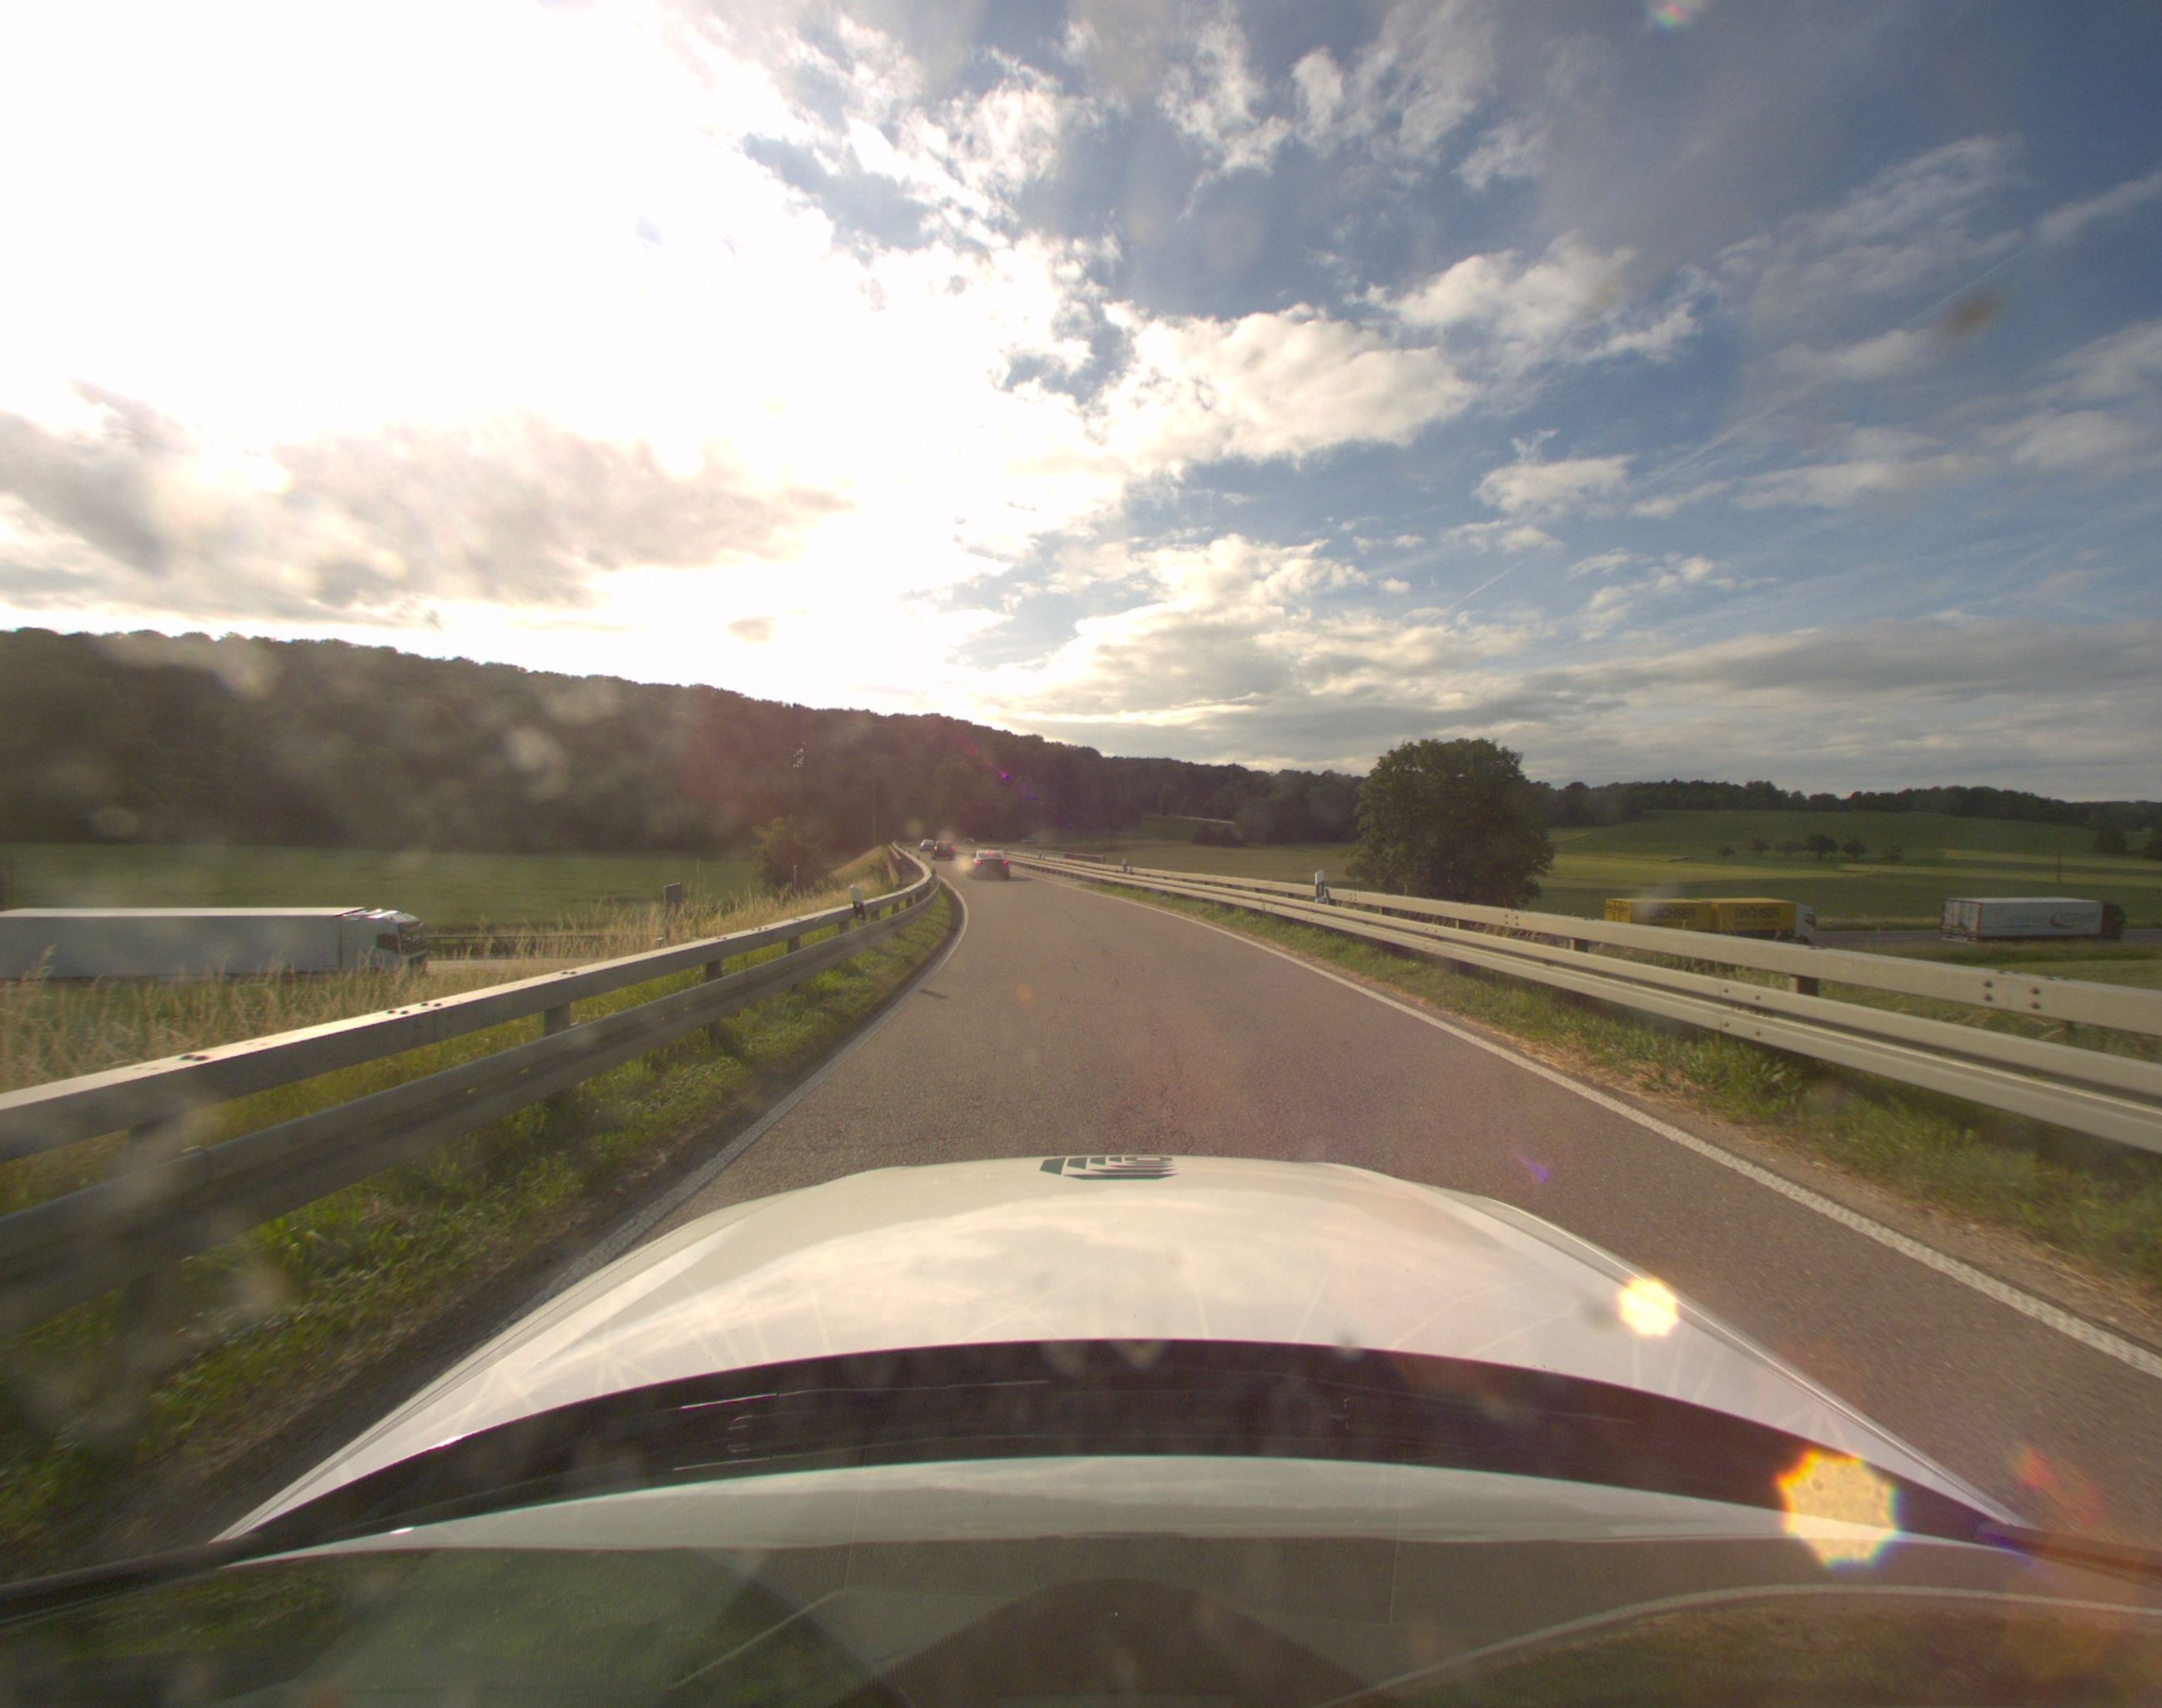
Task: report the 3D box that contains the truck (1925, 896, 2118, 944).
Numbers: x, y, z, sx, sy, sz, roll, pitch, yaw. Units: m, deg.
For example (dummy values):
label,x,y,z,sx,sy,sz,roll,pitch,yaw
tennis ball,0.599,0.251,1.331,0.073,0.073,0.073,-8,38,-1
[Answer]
label,x,y,z,sx,sy,sz,roll,pitch,yaw
truck,82.461,5.673,71.476,14.374,3.998,4.066,0,-3,-10

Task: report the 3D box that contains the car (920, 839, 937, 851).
label,x,y,z,sx,sy,sz,roll,pitch,yaw
car,-18.363,-1.045,98.084,1.685,1.376,3.980,1,1,-15

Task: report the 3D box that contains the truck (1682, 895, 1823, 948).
label,x,y,z,sx,sy,sz,roll,pitch,yaw
truck,55.403,5.546,67.300,9.777,4.060,3.821,1,-2,-12

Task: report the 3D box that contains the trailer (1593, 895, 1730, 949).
label,x,y,z,sx,sy,sz,roll,pitch,yaw
trailer,46.475,5.379,65.323,9.106,4.060,3.821,1,-2,-12

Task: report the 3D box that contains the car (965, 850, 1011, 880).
label,x,y,z,sx,sy,sz,roll,pitch,yaw
car,-4.649,0.512,40.207,1.820,1.339,4.332,1,0,-12

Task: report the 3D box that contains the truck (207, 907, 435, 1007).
label,x,y,z,sx,sy,sz,roll,pitch,yaw
truck,-39.128,5.207,42.340,8.045,4.466,3.015,0,3,-16

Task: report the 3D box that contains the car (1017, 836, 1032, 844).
label,x,y,z,sx,sy,sz,roll,pitch,yaw
car,-14.001,-3.510,202.632,1.975,1.772,4.024,-1,1,27

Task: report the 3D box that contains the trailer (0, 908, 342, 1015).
label,x,y,z,sx,sy,sz,roll,pitch,yaw
trailer,-45.433,5.168,40.477,12.712,4.466,3.017,0,3,-17

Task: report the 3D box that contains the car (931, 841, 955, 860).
label,x,y,z,sx,sy,sz,roll,pitch,yaw
car,-11.960,-0.311,70.347,1.863,1.568,3.984,1,0,-12

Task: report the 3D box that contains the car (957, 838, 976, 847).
label,x,y,z,sx,sy,sz,roll,pitch,yaw
car,-23.863,-2.414,169.987,1.977,1.679,4.198,2,0,20
